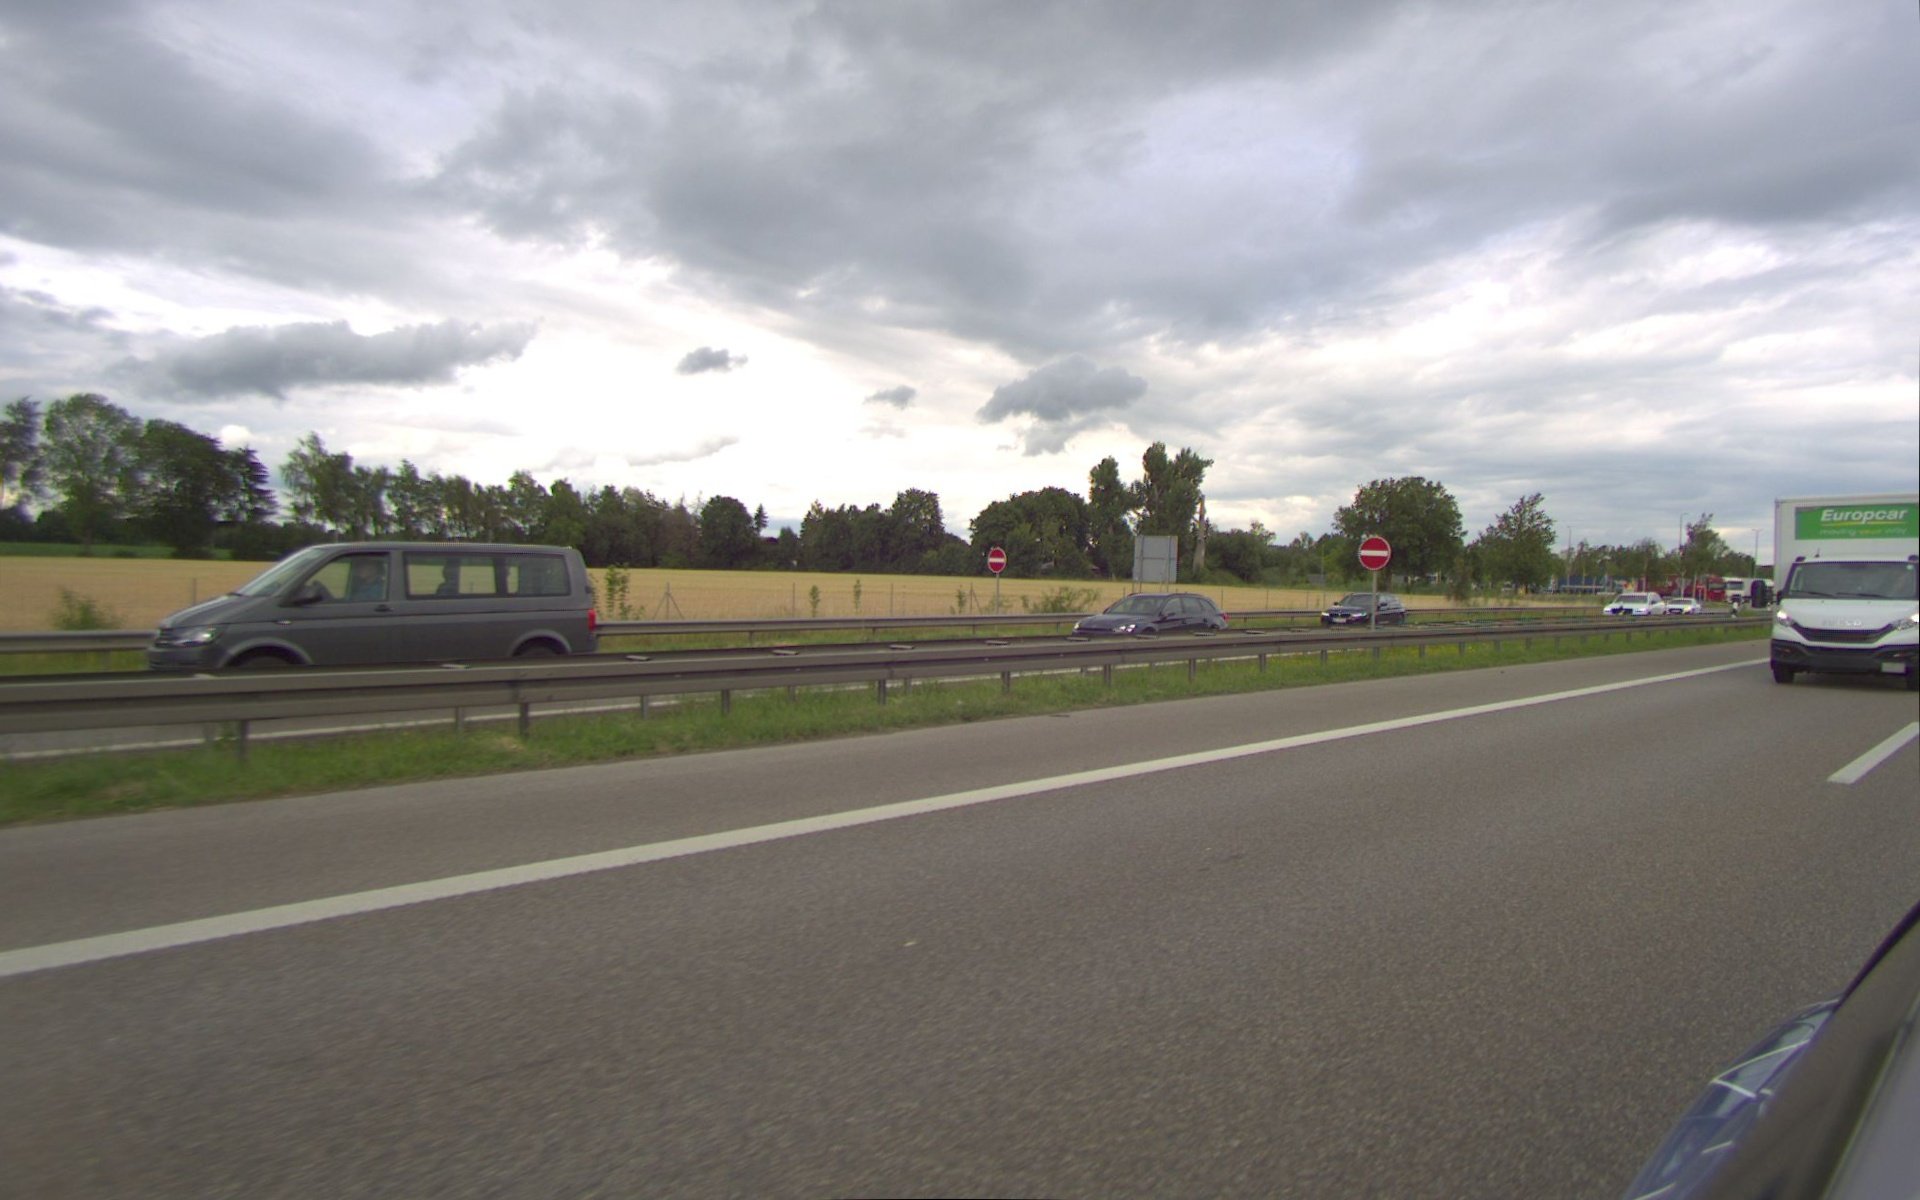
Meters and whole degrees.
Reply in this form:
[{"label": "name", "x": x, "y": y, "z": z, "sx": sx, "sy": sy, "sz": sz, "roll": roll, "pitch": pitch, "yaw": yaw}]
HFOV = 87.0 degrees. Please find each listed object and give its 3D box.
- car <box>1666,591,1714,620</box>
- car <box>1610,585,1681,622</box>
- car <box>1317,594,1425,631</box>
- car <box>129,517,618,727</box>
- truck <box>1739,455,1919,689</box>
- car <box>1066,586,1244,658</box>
[{"label": "car", "x": 53.563, "y": 0.388, "z": 74.265, "sx": 3.930, "sy": 2.039, "sz": 1.980, "roll": 0, "pitch": 0, "yaw": -41}, {"label": "car", "x": 34.980, "y": 0.163, "z": 51.589, "sx": 4.978, "sy": 1.778, "sz": 1.831, "roll": 0, "pitch": 2, "yaw": -42}, {"label": "car", "x": 16.029, "y": 0.429, "z": 39.255, "sx": 5.621, "sy": 1.333, "sz": 1.829, "roll": 0, "pitch": 0, "yaw": -45}, {"label": "car", "x": -7.052, "y": 0.193, "z": 12.579, "sx": 2.144, "sy": 2.089, "sz": 4.878, "roll": 1, "pitch": 1, "yaw": 44}, {"label": "truck", "x": 17.380, "y": -0.446, "z": 18.928, "sx": 8.903, "sy": 3.549, "sz": 2.775, "roll": 0, "pitch": 0, "yaw": -41}, {"label": "car", "x": 4.534, "y": 0.437, "z": 23.121, "sx": 4.518, "sy": 1.503, "sz": 1.751, "roll": 0, "pitch": 0, "yaw": -44}]
